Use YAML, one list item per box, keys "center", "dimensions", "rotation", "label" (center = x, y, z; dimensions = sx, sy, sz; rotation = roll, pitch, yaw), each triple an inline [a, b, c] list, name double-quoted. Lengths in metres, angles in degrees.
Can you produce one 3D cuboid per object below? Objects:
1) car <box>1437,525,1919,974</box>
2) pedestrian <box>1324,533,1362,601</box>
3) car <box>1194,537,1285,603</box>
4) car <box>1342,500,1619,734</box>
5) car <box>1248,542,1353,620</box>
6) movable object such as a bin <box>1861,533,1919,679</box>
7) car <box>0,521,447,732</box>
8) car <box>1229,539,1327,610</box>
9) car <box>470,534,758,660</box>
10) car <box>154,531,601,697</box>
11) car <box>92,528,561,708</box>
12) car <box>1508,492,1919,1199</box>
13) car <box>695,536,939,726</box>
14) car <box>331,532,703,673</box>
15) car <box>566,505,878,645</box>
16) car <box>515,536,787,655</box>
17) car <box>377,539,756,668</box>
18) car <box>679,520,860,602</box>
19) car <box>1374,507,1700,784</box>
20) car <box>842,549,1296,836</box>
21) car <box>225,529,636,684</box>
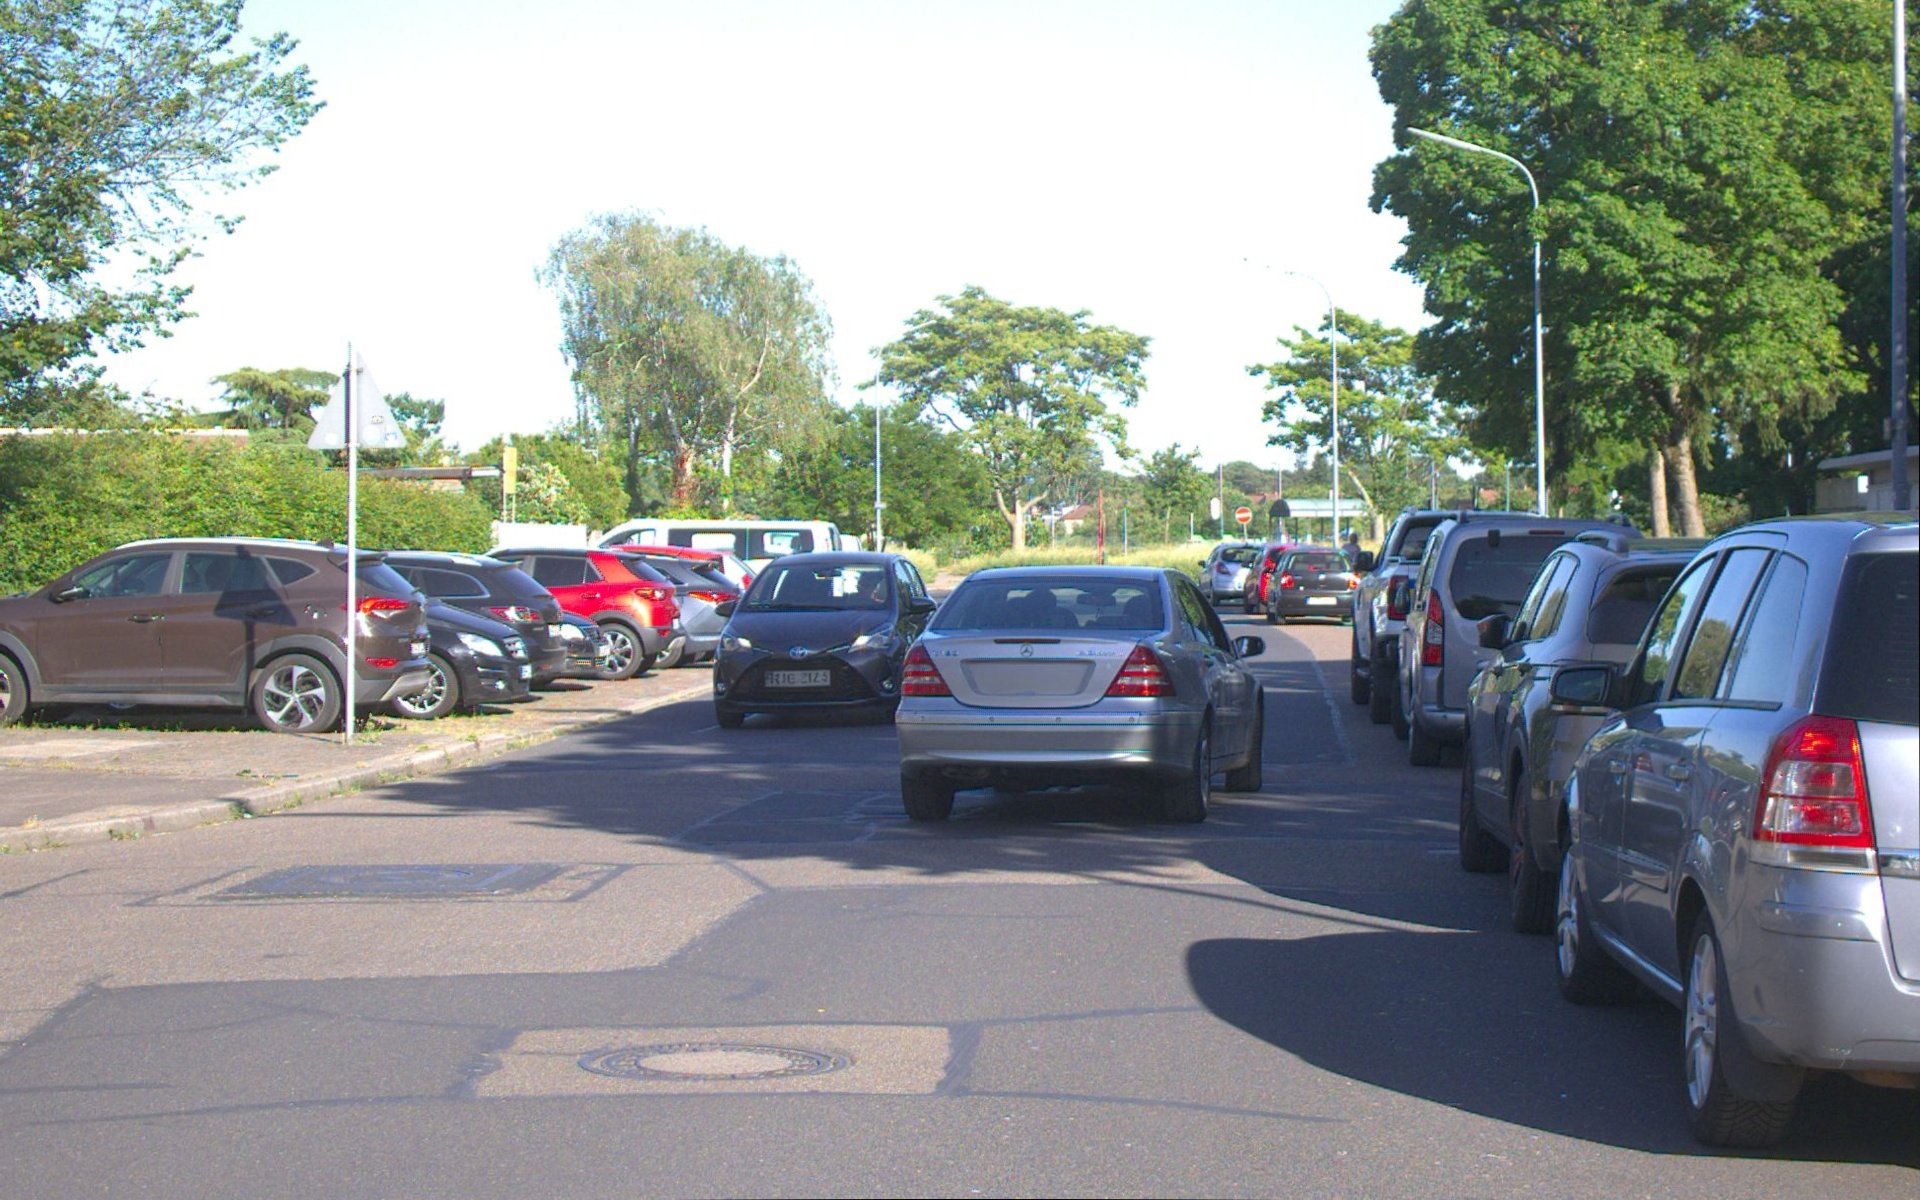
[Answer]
- center: [3.088, 0.516, 14.519]
  dimensions: [1.804, 1.588, 4.023]
  rotation: [2, 1, 4]
  label: "car"
- center: [8.953, -0.771, 80.371]
  dimensions: [0.787, 1.559, 0.570]
  rotation: [2, 0, 0]
  label: "pedestrian"
- center: [6.633, -0.716, 81.975]
  dimensions: [1.731, 1.538, 3.789]
  rotation: [0, 0, -2]
  label: "car"
- center: [4.497, 0.064, 30.424]
  dimensions: [1.907, 1.834, 5.274]
  rotation: [2, 2, 4]
  label: "car"
- center: [6.351, -0.359, 64.436]
  dimensions: [1.647, 1.398, 3.882]
  rotation: [-1, 0, 1]
  label: "car"
- center: [9.042, 0.055, 31.980]
  dimensions: [1.251, 1.342, 1.052]
  rotation: [0, 0, 16]
  label: "movable object such as a bin"
- center: [-6.674, 0.204, 29.462]
  dimensions: [4.187, 1.650, 1.846]
  rotation: [2, 0, 2]
  label: "car"
- center: [6.656, -0.528, 72.238]
  dimensions: [1.575, 1.441, 3.789]
  rotation: [0, 0, -2]
  label: "car"
- center: [-4.698, -0.063, 47.005]
  dimensions: [3.602, 1.562, 1.881]
  rotation: [2, 1, 4]
  label: "car"
- center: [-5.805, 0.132, 34.552]
  dimensions: [4.092, 1.507, 1.812]
  rotation: [2, 0, 3]
  label: "car"
- center: [-5.909, 0.160, 32.353]
  dimensions: [3.987, 1.527, 1.832]
  rotation: [2, 0, 3]
  label: "car"
- center: [2.688, 0.582, 9.667]
  dimensions: [1.768, 1.604, 4.372]
  rotation: [2, 0, 3]
  label: "car"
- center: [-1.211, 0.254, 30.783]
  dimensions: [1.650, 1.550, 4.001]
  rotation: [-1, 0, 5]
  label: "car"
- center: [-5.124, 0.007, 40.071]
  dimensions: [3.987, 1.474, 1.790]
  rotation: [2, 1, 5]
  label: "car"
- center: [-3.599, -0.379, 52.551]
  dimensions: [4.479, 1.970, 2.000]
  rotation: [2, 0, 3]
  label: "car"
- center: [-4.422, -0.084, 49.495]
  dimensions: [3.602, 1.562, 1.852]
  rotation: [2, 1, 4]
  label: "car"
- center: [-4.995, 0.028, 43.970]
  dimensions: [4.544, 1.474, 1.747]
  rotation: [2, 1, 5]
  label: "car"
- center: [-4.261, -0.886, 76.989]
  dimensions: [3.976, 1.774, 1.926]
  rotation: [1, 1, -3]
  label: "car"
- center: [4.136, 0.240, 25.304]
  dimensions: [1.833, 1.785, 4.555]
  rotation: [2, 2, 3]
  label: "car"
- center: [0.768, 0.449, 20.311]
  dimensions: [1.817, 1.458, 4.358]
  rotation: [1, 1, 14]
  label: "car"
- center: [-5.641, 0.061, 36.952]
  dimensions: [4.019, 1.507, 1.906]
  rotation: [2, 0, 3]
  label: "car"
